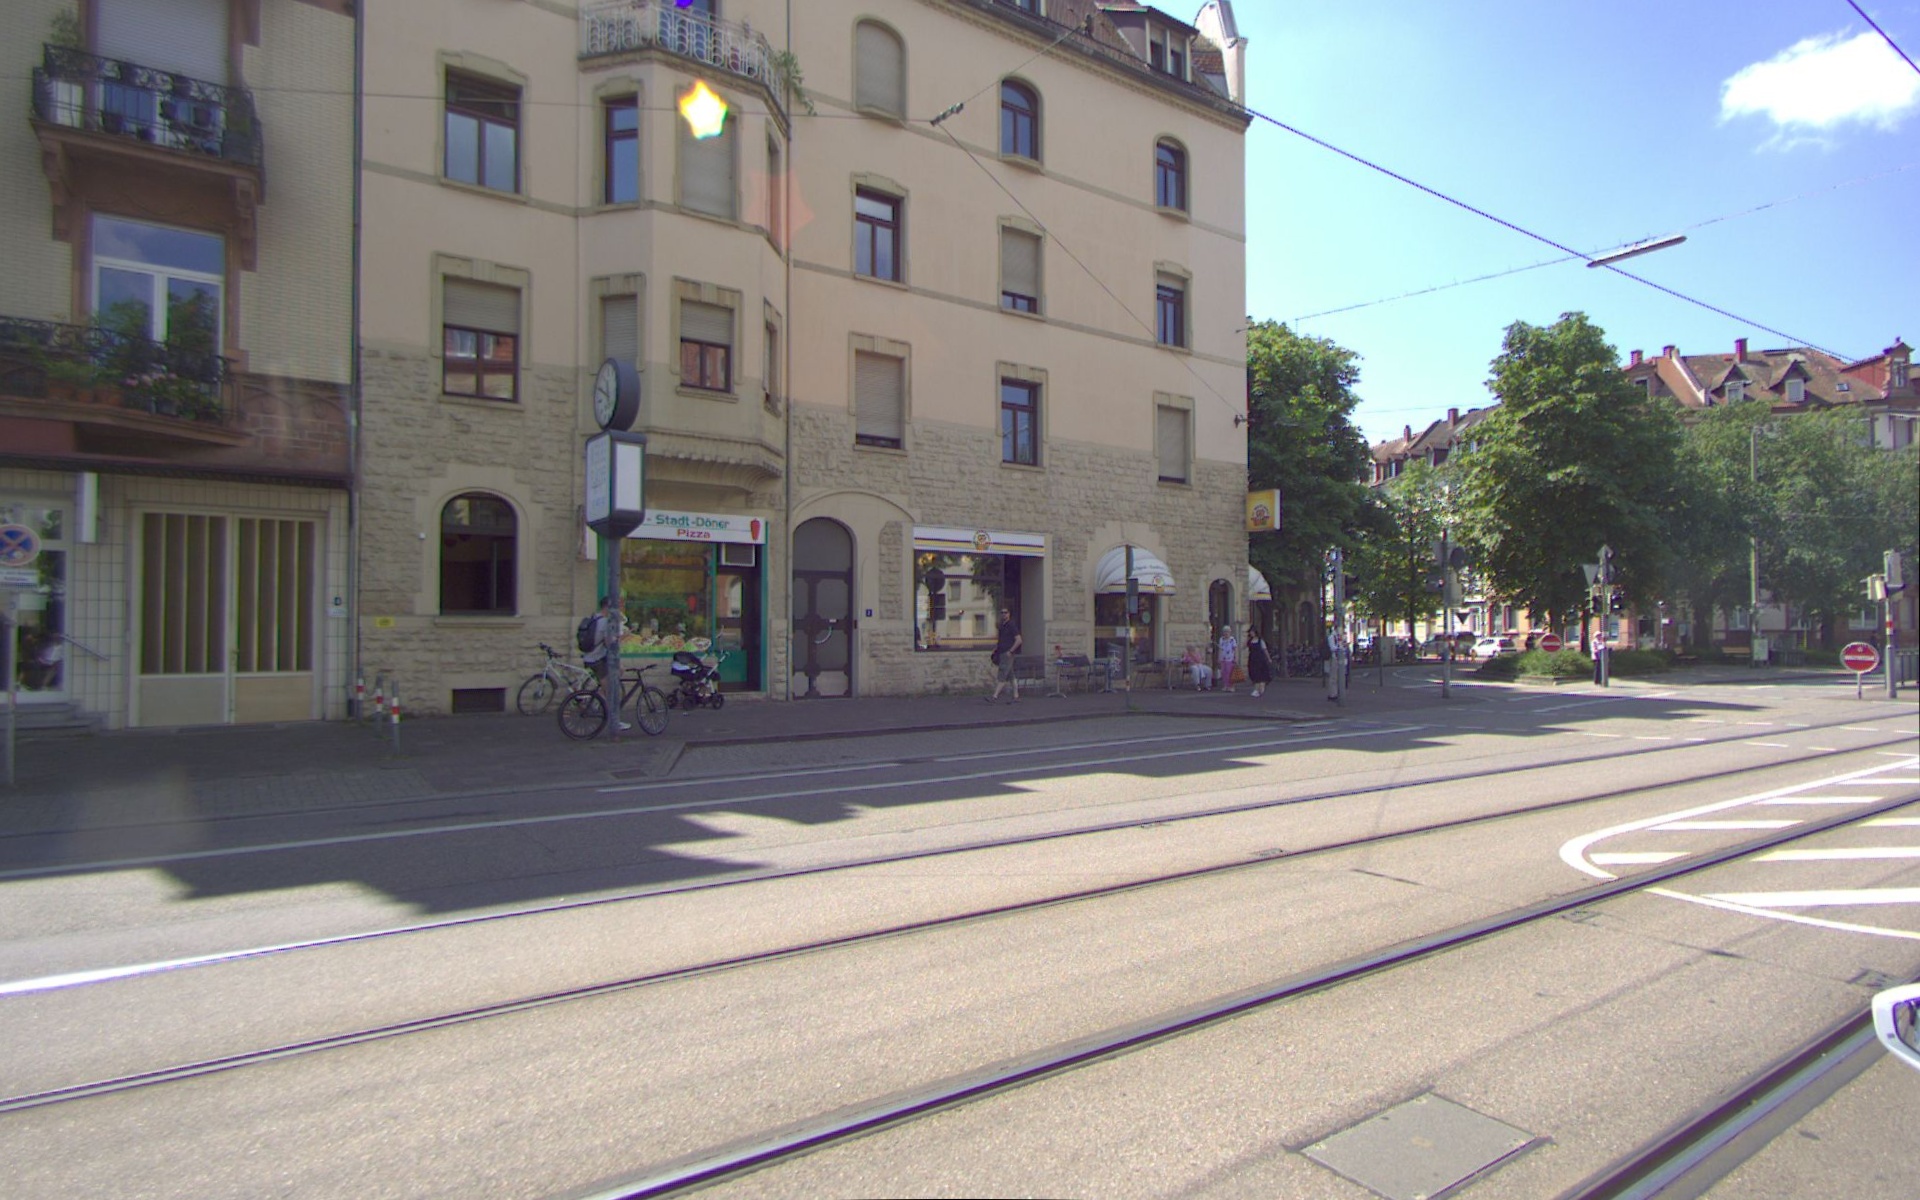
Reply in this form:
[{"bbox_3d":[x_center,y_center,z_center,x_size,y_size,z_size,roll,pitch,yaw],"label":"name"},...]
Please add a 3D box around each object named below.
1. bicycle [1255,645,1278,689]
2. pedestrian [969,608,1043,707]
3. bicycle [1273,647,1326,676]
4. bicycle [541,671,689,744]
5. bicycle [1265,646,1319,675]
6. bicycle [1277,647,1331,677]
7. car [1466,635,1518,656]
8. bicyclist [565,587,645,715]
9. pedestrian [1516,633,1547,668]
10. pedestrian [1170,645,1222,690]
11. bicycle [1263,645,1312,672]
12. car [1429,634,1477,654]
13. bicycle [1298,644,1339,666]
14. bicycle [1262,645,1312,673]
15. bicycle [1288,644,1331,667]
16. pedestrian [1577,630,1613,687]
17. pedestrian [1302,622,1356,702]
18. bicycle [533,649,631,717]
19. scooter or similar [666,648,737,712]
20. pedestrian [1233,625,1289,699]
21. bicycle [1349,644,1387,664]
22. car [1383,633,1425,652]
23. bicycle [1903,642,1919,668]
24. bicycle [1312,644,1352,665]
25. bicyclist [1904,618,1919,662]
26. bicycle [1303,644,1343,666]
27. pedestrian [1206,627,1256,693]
[{"bbox_3d":[8.388,1.833,27.485,0.534,1.143,1.683,-1,-4,19],"label":"bicycle"},{"bbox_3d":[0.920,1.130,20.129,1.153,1.916,0.895,1,-1,-34],"label":"pedestrian"},{"bbox_3d":[12.227,2.216,36.184,1.697,1.046,0.544,0,-2,0],"label":"bicycle"},{"bbox_3d":[-4.772,1.461,13.942,1.802,0.829,0.747,1,3,-35],"label":"bicycle"},{"bbox_3d":[12.400,2.251,37.569,1.819,1.046,0.544,0,-2,0],"label":"bicycle"},{"bbox_3d":[12.148,2.199,35.505,1.697,1.046,0.544,0,-2,0],"label":"bicycle"},{"bbox_3d":[39.518,3.369,74.672,1.654,1.491,3.467,0,-2,-8],"label":"car"},{"bbox_3d":[-4.889,0.687,13.817,0.823,1.685,0.751,2,-1,-36],"label":"bicyclist"},{"bbox_3d":[30.880,2.731,54.273,1.001,1.893,0.999,1,-2,-17],"label":"pedestrian"},{"bbox_3d":[5.888,1.675,25.064,0.873,1.092,0.911,1,-2,-32],"label":"pedestrian"},{"bbox_3d":[12.925,2.312,39.727,1.818,1.046,0.545,-1,-2,16],"label":"bicycle"},{"bbox_3d":[38.545,3.447,78.642,1.654,1.491,3.467,0,-2,-8],"label":"car"},{"bbox_3d":[17.688,2.704,49.517,1.825,1.046,0.543,-2,-2,35],"label":"bicycle"},{"bbox_3d":[12.661,2.288,38.929,1.819,1.046,0.544,-1,-2,17],"label":"bicycle"},{"bbox_3d":[16.272,2.591,46.814,1.825,1.046,0.542,-2,-2,36],"label":"bicycle"},{"bbox_3d":[20.006,1.831,31.658,0.825,1.745,0.918,-1,-2,26],"label":"pedestrian"},{"bbox_3d":[8.333,1.388,22.677,0.767,1.755,0.855,1,-1,-31],"label":"pedestrian"},{"bbox_3d":[-6.246,1.373,16.621,1.439,1.080,0.370,2,-1,-10],"label":"bicycle"},{"bbox_3d":[-4.609,1.407,17.986,0.682,1.058,1.210,1,-1,16],"label":"scooter or similar"},{"bbox_3d":[7.041,1.425,23.508,1.020,1.657,0.852,2,-1,-44],"label":"pedestrian"},{"bbox_3d":[22.032,2.925,54.317,1.825,1.046,0.543,-2,-2,35],"label":"bicycle"},{"bbox_3d":[37.497,3.588,84.926,1.654,1.491,3.467,0,-2,-8],"label":"car"},{"bbox_3d":[41.860,2.372,43.805,1.698,1.116,0.724,1,-2,-35],"label":"bicycle"},{"bbox_3d":[18.805,2.753,50.768,1.825,1.046,0.543,-2,-2,35],"label":"bicycle"},{"bbox_3d":[41.748,1.745,43.726,0.816,1.894,0.718,1,-2,-33],"label":"bicyclist"},{"bbox_3d":[18.070,2.722,50.009,1.825,1.046,0.543,-2,-2,35],"label":"bicycle"},{"bbox_3d":[6.730,1.476,24.932,0.910,1.615,0.801,1,-2,-35],"label":"pedestrian"}]
